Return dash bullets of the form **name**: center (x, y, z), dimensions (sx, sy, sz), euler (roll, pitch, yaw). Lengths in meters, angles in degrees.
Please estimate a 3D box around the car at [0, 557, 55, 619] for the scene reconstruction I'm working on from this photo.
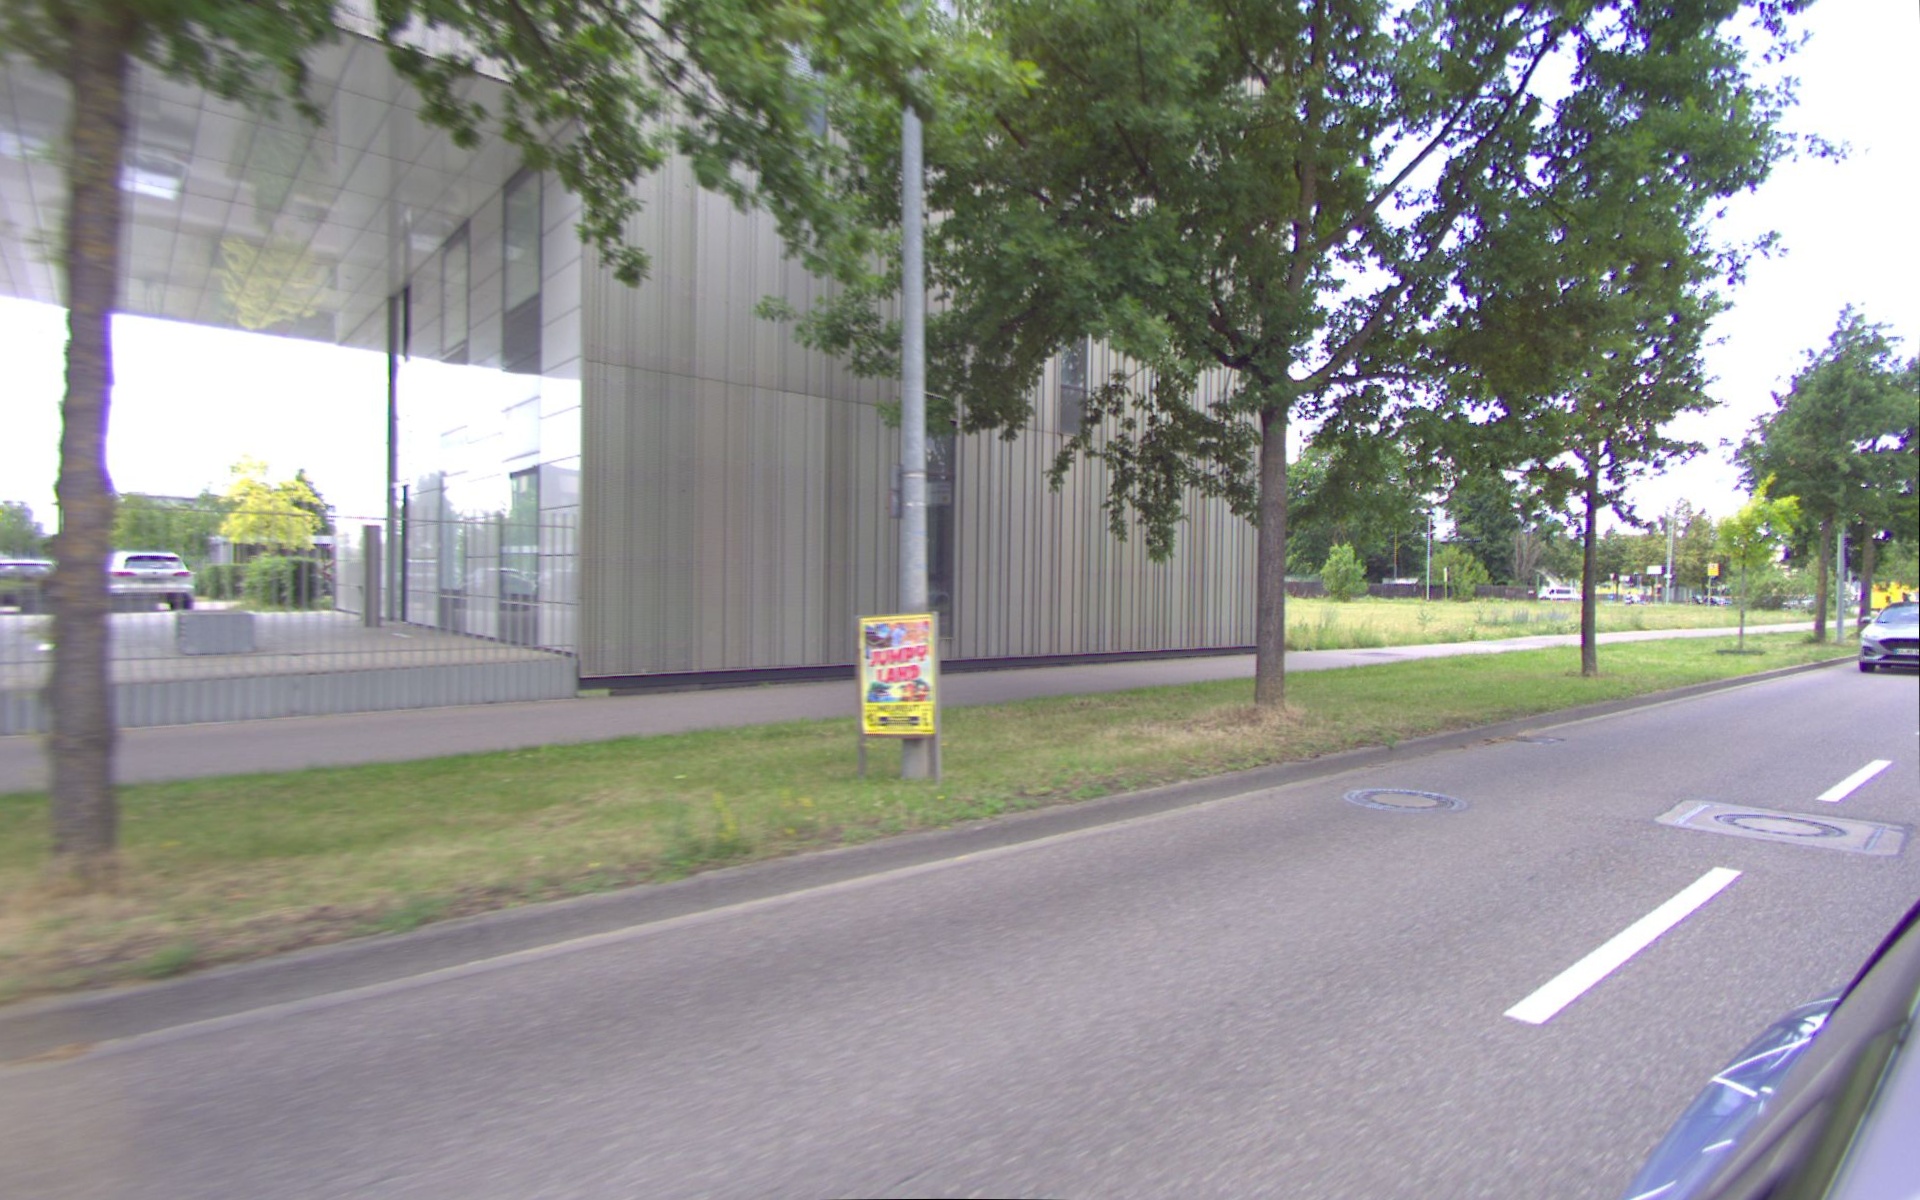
- **car**: center (-26.250, -0.303, 27.906), dimensions (1.839, 1.610, 3.665), euler (-2, 1, -41)

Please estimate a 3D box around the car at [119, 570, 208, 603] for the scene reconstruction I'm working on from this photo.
- **car**: center (-41.988, -0.716, 53.379), dimensions (3.607, 1.610, 1.869), euler (-2, 1, -40)

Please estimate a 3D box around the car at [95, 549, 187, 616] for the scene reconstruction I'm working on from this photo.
- **car**: center (-24.351, -0.498, 30.048), dimensions (1.966, 1.824, 4.306), euler (-2, 1, -41)

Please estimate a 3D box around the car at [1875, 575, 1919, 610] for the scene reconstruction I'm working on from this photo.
- **car**: center (80.610, -0.653, 85.205), dimensions (2.253, 2.889, 7.221), euler (1, 1, 16)

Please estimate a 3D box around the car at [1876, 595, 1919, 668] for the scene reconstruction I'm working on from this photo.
- **car**: center (21.320, 0.643, 21.880), dimensions (4.019, 1.489, 1.673), euler (0, 0, -39)

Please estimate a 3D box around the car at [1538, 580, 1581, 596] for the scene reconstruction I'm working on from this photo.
- **car**: center (84.938, -1.704, 143.348), dimensions (5.044, 2.175, 2.153), euler (0, 0, -11)

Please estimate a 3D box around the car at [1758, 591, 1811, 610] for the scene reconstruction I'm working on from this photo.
- **car**: center (86.921, 0.053, 106.757), dimensions (1.967, 1.695, 5.059), euler (2, 3, 9)
